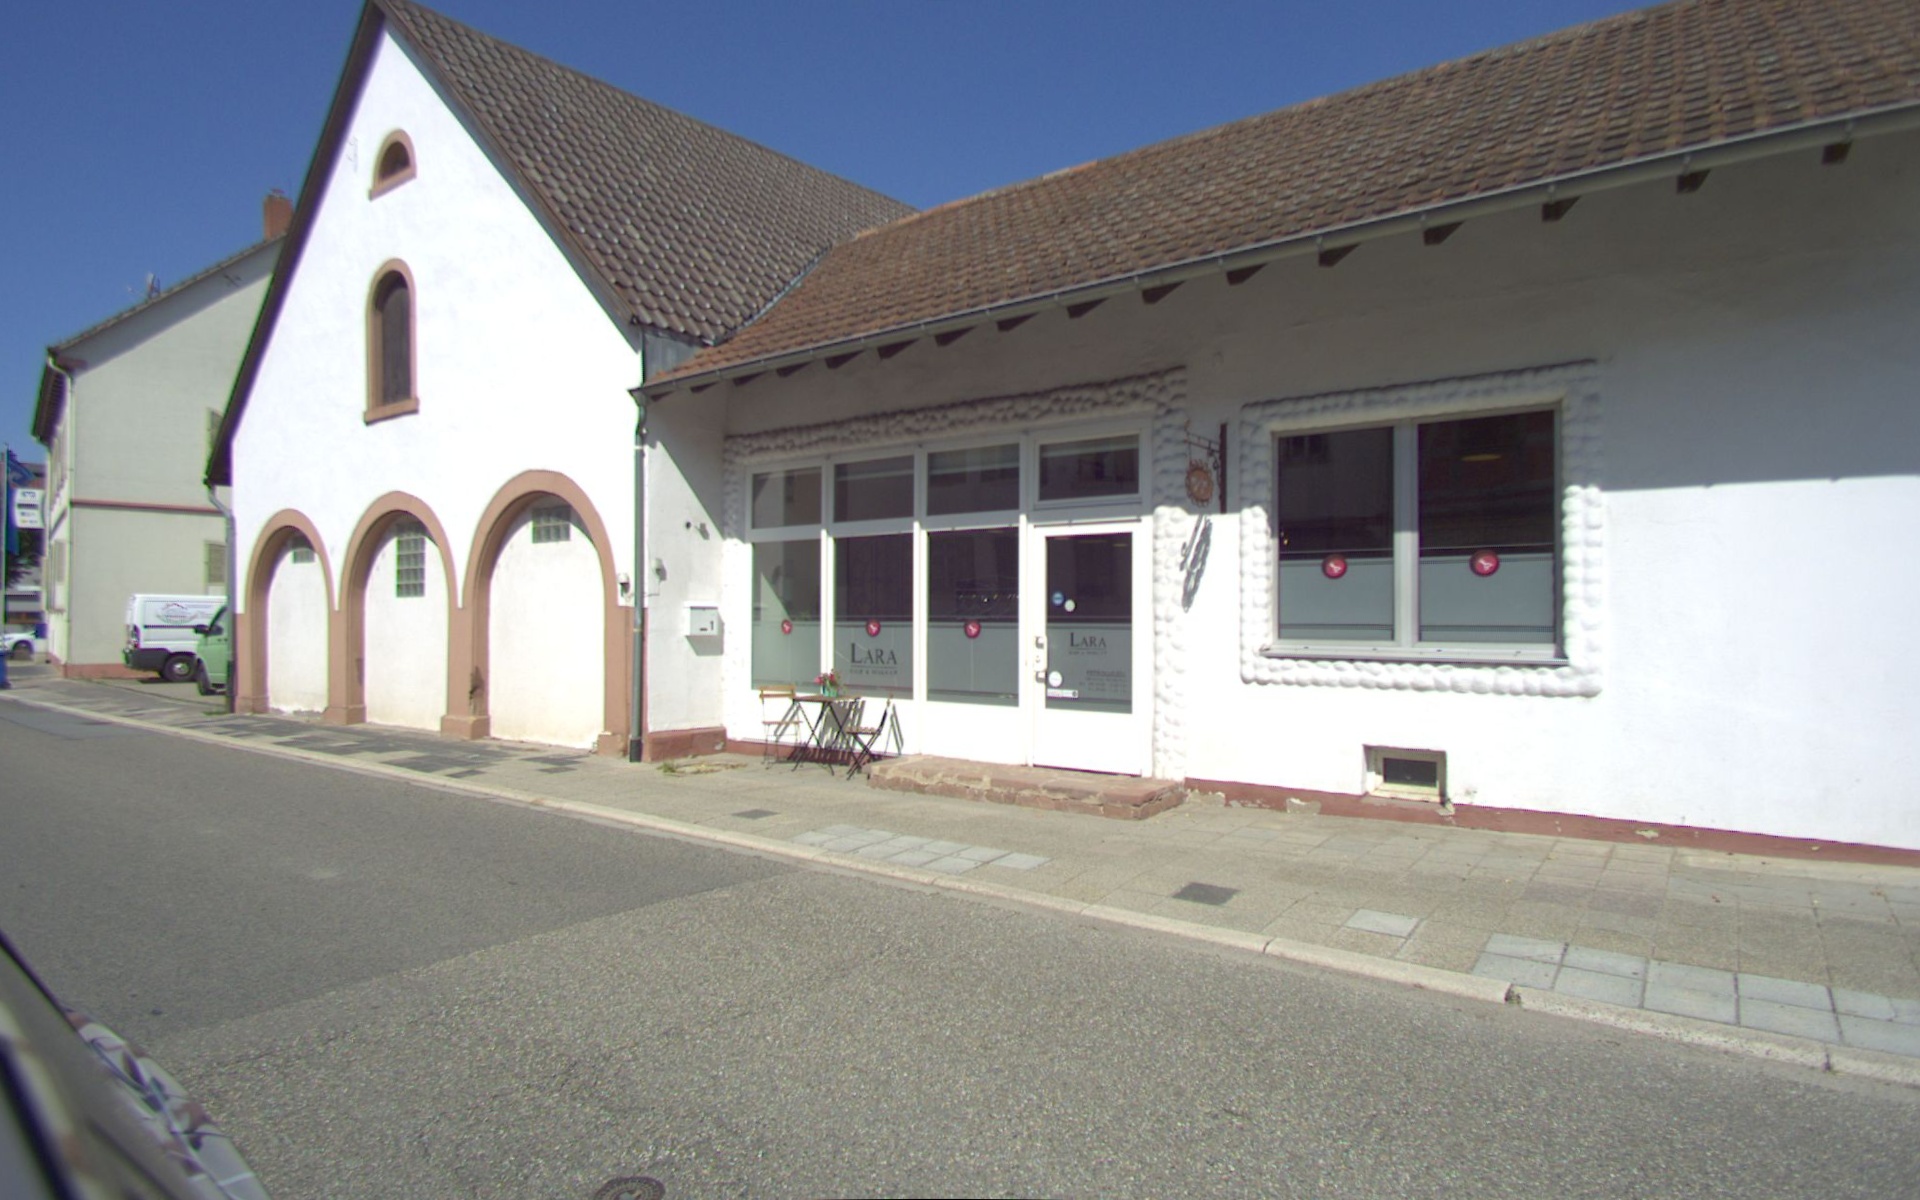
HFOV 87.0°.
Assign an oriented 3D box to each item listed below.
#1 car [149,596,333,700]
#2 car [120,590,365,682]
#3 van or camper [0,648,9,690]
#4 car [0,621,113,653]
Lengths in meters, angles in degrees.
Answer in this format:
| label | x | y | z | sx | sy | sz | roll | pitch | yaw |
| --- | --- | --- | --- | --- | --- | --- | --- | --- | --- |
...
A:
| label | x | y | z | sx | sy | sz | roll | pitch | yaw |
| --- | --- | --- | --- | --- | --- | --- | --- | --- | --- |
| car | -15.444 | 0.972 | 21.666 | 4.663 | 1.979 | 1.974 | -1 | -2 | 38 |
| car | -19.010 | 0.907 | 26.982 | 5.114 | 2.213 | 2.124 | 0 | -2 | -43 |
| van or camper | -22.805 | 1.628 | 23.799 | 0.600 | 0.959 | 0.583 | -2 | -2 | 42 |
| car | -43.996 | 1.748 | 48.865 | 1.850 | 1.451 | 4.461 | -1 | -1 | 33 |
